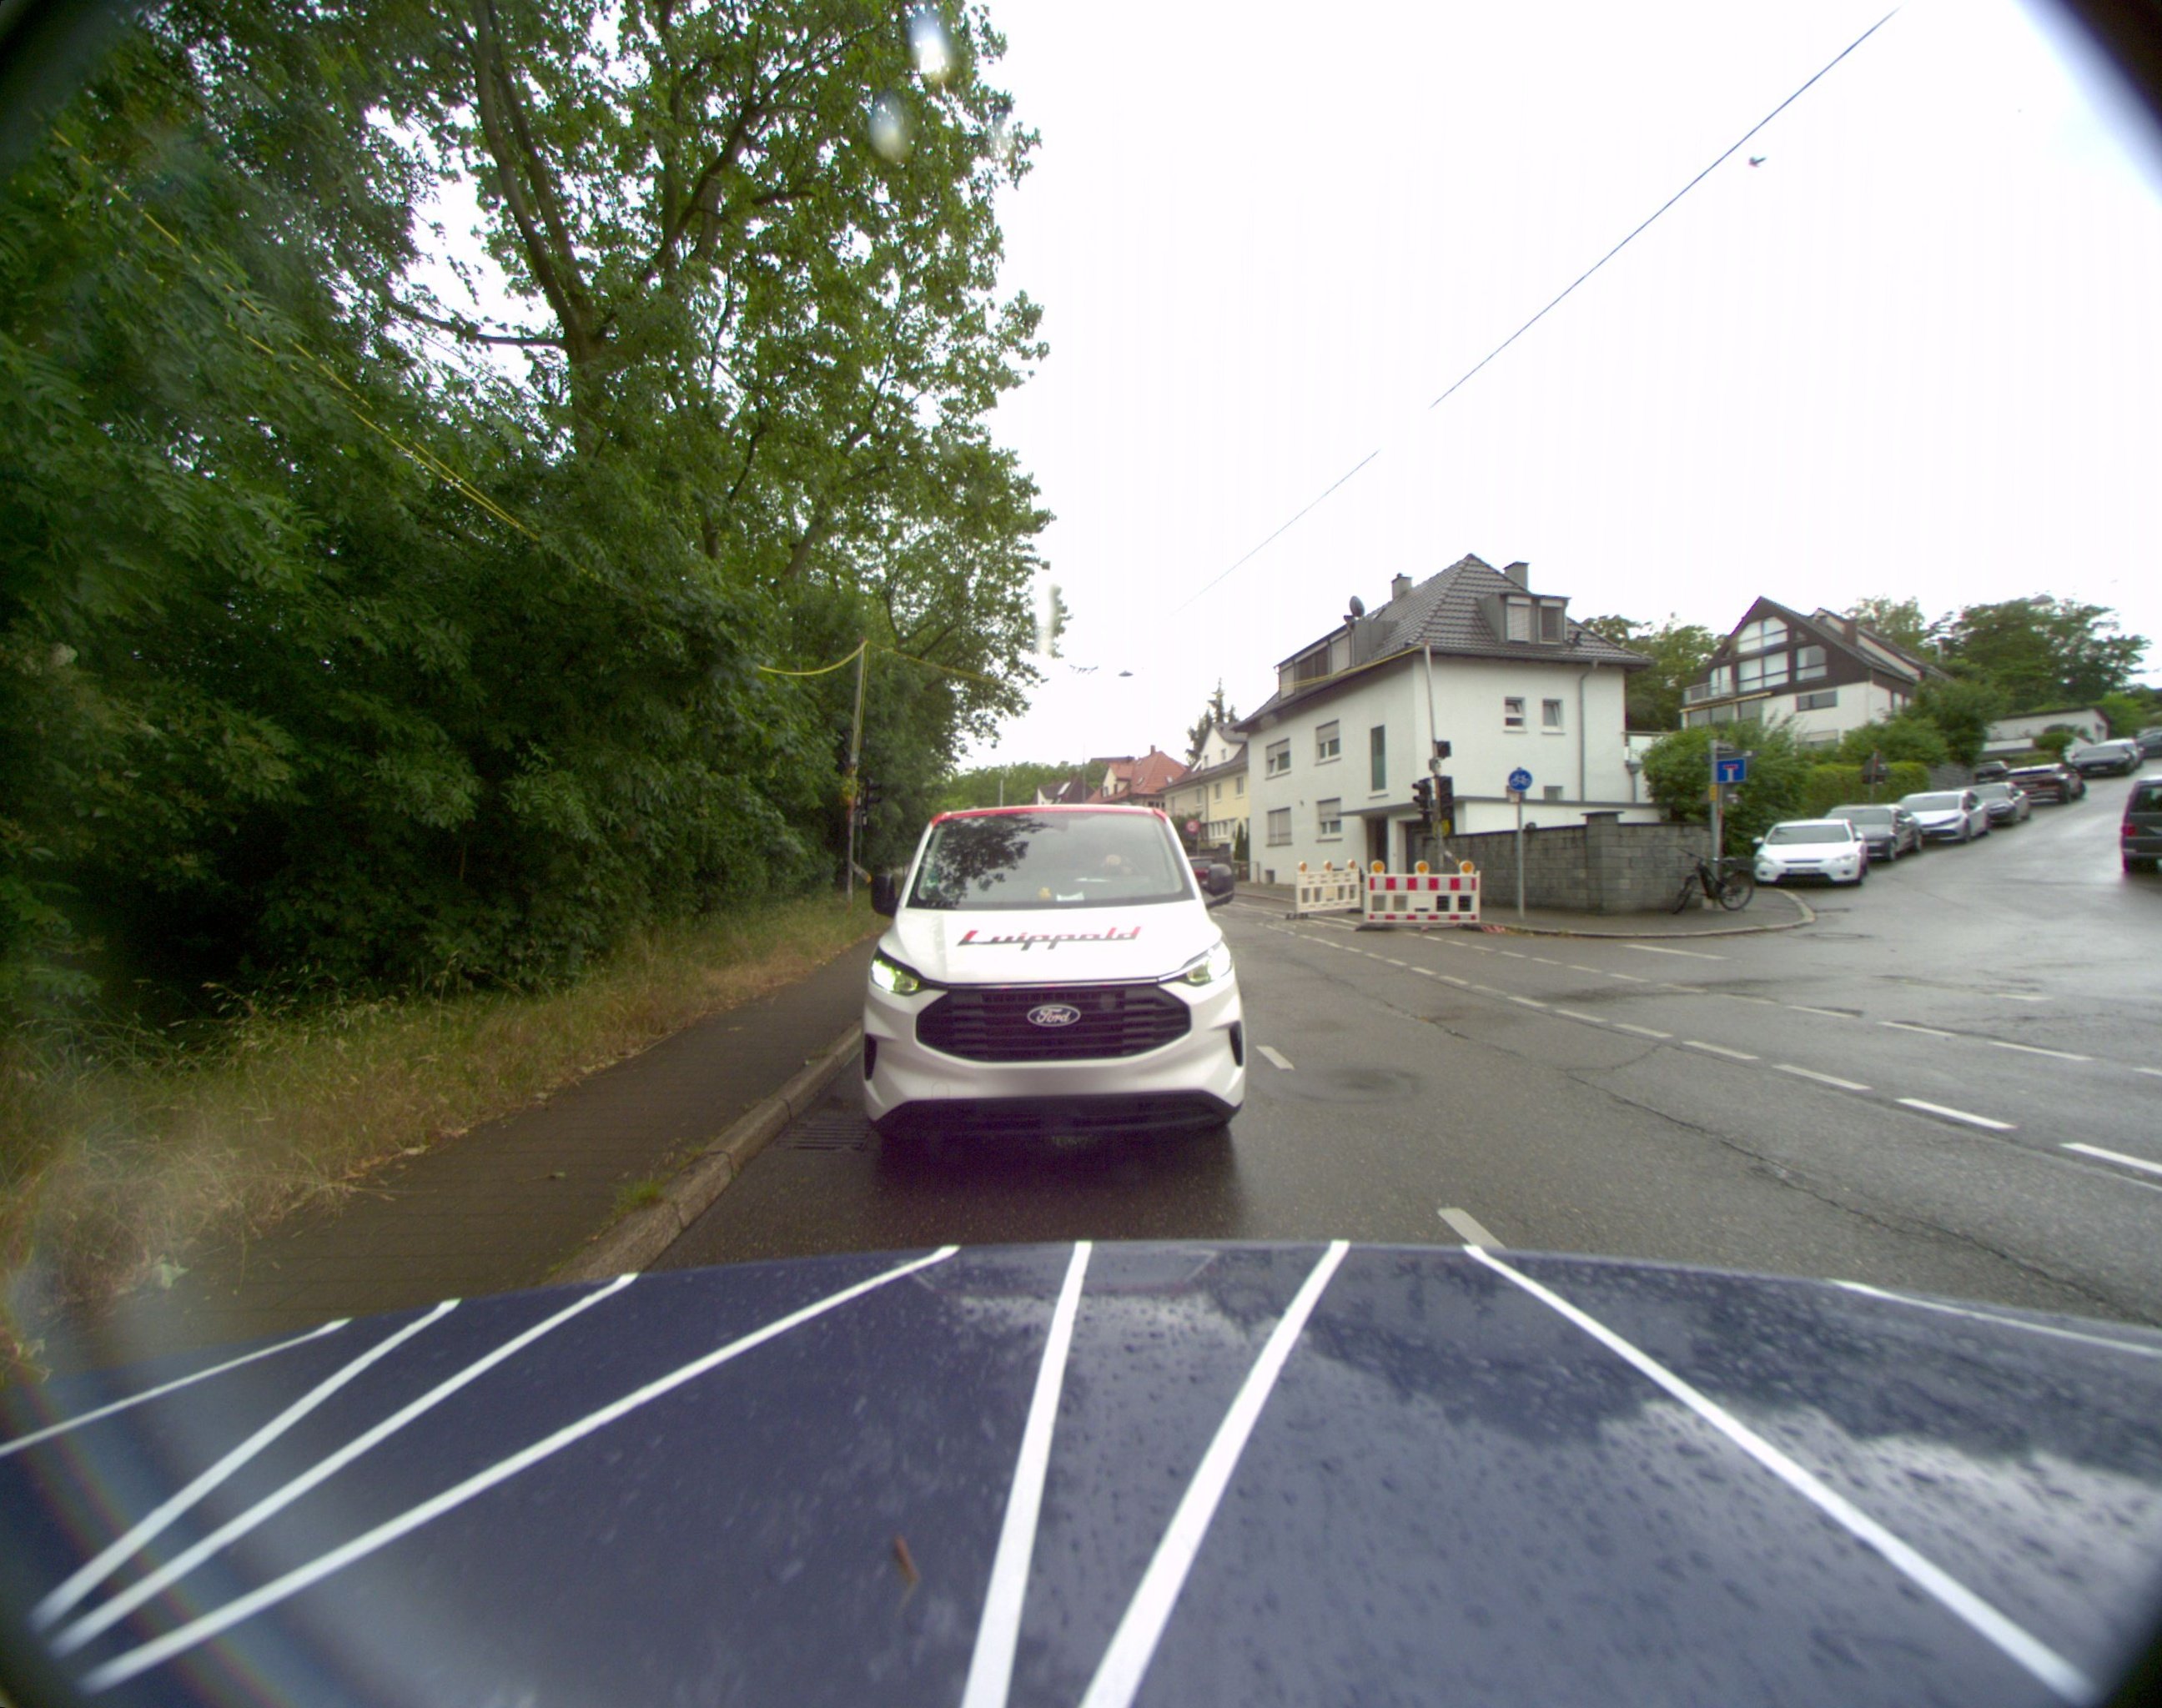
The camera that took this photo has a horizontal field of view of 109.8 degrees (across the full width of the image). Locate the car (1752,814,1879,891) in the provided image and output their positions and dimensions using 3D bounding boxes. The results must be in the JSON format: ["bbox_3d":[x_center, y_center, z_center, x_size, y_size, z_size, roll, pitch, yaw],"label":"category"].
[{"bbox_3d":[17.606,-0.053,18.182,3.566,1.458,1.746,-7,2,-39],"label":"car"}]

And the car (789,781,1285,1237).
[{"bbox_3d":[-0.150,0.638,5.847,2.045,1.883,5.208,-2,1,1],"label":"car"}]

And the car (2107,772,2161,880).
[{"bbox_3d":[23.509,-0.680,15.991,3.801,1.926,1.911,-9,3,-31],"label":"car"}]

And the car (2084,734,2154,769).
[{"bbox_3d":[60.414,-5.971,44.217,3.834,1.492,1.733,-9,3,-26],"label":"car"}]

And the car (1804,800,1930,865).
[{"bbox_3d":[22.462,-0.638,21.685,3.859,1.458,1.700,-7,2,-32],"label":"car"}]

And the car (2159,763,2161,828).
[{"bbox_3d":[32.942,-1.900,21.885,3.416,1.827,1.917,-9,3,-31],"label":"car"}]

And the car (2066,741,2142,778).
[{"bbox_3d":[54.709,-5.057,40.624,3.834,1.492,1.733,-9,3,-26],"label":"car"}]

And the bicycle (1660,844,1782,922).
[{"bbox_3d":[11.718,0.511,13.929,1.732,1.304,0.707,-2,1,-7],"label":"bicycle"}]

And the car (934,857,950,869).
[{"bbox_3d":[-18.865,1.180,103.002,1.767,1.519,3.585,-2,1,-17],"label":"car"}]

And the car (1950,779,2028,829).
[{"bbox_3d":[32.169,-1.786,26.900,3.508,1.383,1.333,-8,4,-32],"label":"car"}]

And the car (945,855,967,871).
[{"bbox_3d":[-15.504,1.059,94.011,2.001,1.850,4.354,-2,1,-17],"label":"car"}]

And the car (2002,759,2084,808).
[{"bbox_3d":[40.520,-2.968,31.994,3.988,1.547,1.333,-9,3,-26],"label":"car"}]

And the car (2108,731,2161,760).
[{"bbox_3d":[68.139,-6.963,48.101,1.582,1.492,3.607,-10,4,-34],"label":"car"}]

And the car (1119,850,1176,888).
[{"bbox_3d":[2.979,0.709,34.707,1.670,1.579,4.004,-3,-2,-8],"label":"car"}]

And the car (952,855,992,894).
[{"bbox_3d":[-4.969,0.950,34.738,1.670,1.579,4.004,-3,-2,-8],"label":"car"}]

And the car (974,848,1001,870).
[{"bbox_3d":[-9.427,0.500,76.128,2.001,2.002,3.994,-2,1,-17],"label":"car"}]

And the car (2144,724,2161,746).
[{"bbox_3d":[81.258,-8.943,55.760,1.624,1.492,3.514,-9,3,-24],"label":"car"}]

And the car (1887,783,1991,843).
[{"bbox_3d":[27.225,-1.315,24.071,3.859,1.458,1.579,-8,4,-32],"label":"car"}]
